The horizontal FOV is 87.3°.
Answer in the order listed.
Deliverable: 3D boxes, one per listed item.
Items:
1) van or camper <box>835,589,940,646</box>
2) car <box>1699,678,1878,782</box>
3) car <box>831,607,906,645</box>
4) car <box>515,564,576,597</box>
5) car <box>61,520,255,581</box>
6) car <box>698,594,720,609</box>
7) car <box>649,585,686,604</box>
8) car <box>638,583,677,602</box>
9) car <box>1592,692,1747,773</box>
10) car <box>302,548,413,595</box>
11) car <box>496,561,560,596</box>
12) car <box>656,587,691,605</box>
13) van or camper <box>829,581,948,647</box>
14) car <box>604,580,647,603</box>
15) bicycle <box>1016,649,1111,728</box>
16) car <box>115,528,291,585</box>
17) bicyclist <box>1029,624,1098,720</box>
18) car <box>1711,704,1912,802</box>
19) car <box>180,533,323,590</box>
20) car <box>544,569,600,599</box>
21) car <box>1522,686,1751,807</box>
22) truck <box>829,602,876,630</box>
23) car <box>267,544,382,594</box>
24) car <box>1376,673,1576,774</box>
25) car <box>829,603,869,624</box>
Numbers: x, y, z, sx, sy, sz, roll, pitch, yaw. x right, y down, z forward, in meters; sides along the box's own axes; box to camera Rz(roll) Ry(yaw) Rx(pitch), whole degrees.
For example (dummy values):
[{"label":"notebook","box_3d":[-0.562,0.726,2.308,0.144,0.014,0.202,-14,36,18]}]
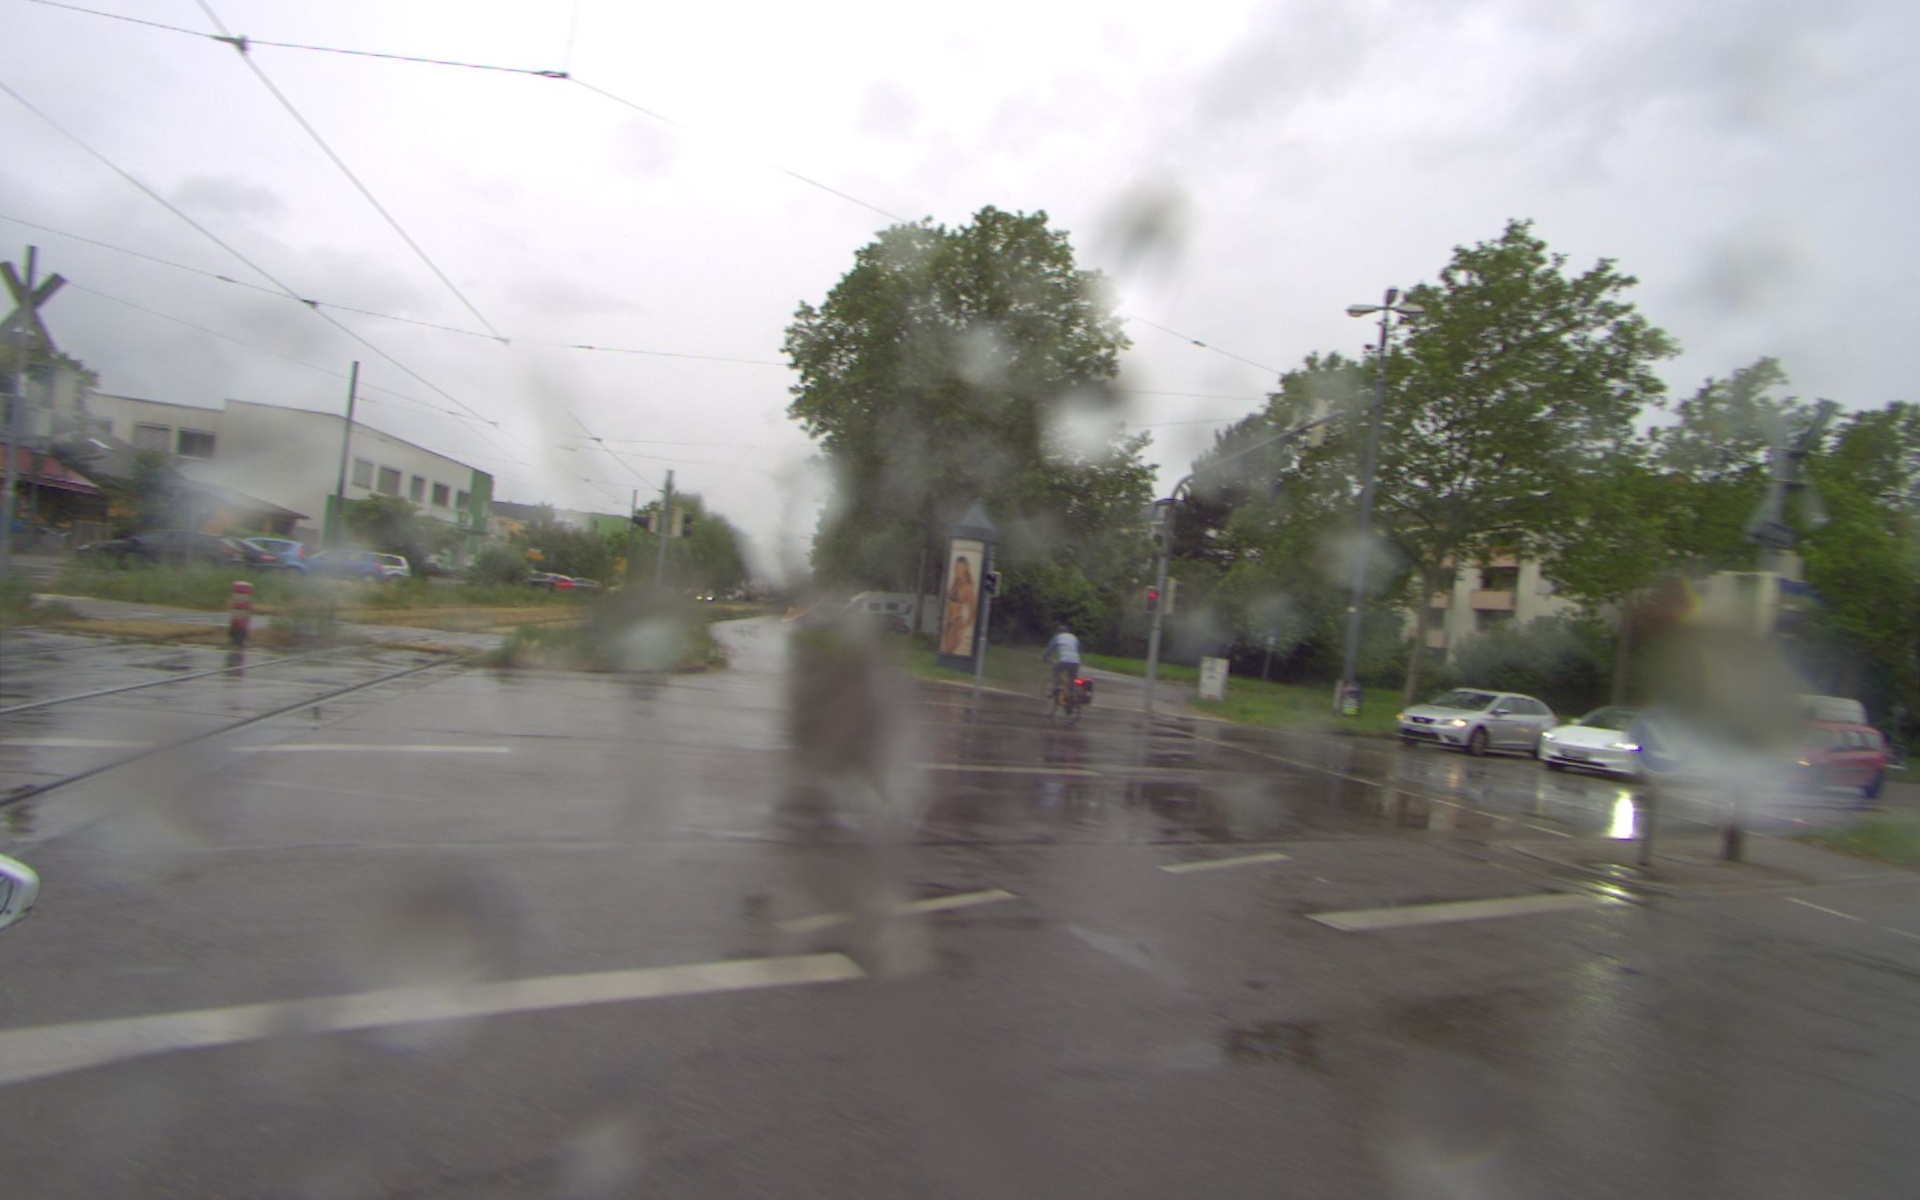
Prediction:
[{"label":"van or camper","box_3d":[-5.360,1.319,74.963,7.316,3.215,3.263,8,-1,-2]},{"label":"car","box_3d":[24.762,3.902,30.018,5.560,2.419,1.986,9,-2,-28]},{"label":"car","box_3d":[-5.615,1.584,62.046,4.379,1.737,2.000,8,-1,-4]},{"label":"car","box_3d":[-30.504,-1.421,74.028,3.950,1.885,1.989,8,-2,-24]},{"label":"car","box_3d":[-25.579,-1.531,32.298,4.431,1.436,1.849,5,-1,-24]},{"label":"car","box_3d":[-34.710,0.196,139.273,1.862,1.681,4.002,8,-2,-1]},{"label":"car","box_3d":[-38.006,-0.666,130.636,3.967,1.853,1.981,9,-2,-36]},{"label":"car","box_3d":[-36.560,-0.891,121.463,3.967,1.779,1.991,9,-2,-36]},{"label":"car","box_3d":[18.766,3.505,26.575,4.028,1.625,1.777,9,-2,-31]},{"label":"car","box_3d":[-27.841,-1.308,46.535,4.090,1.660,1.910,8,-1,-39]},{"label":"car","box_3d":[-30.475,-1.516,71.077,3.950,1.863,1.989,8,-2,-24]},{"label":"car","box_3d":[-38.691,-0.574,135.884,3.957,1.853,1.986,9,-2,-29]},{"label":"van or camper","box_3d":[-4.705,0.953,65.744,7.219,3.215,3.260,8,-1,-7]},{"label":"car","box_3d":[-34.148,-0.886,102.710,3.753,1.722,1.820,9,-2,-35]},{"label":"bicycle","box_3d":[1.752,1.499,17.362,0.684,1.129,1.875,8,-2,-24]},{"label":"car","box_3d":[-25.984,-1.474,34.753,4.451,1.436,1.849,6,-1,-24]},{"label":"bicyclist","box_3d":[1.780,1.228,17.367,0.684,1.523,0.840,7,-1,-24]},{"label":"car","box_3d":[19.382,3.492,22.868,4.566,1.625,1.779,9,-2,-27]},{"label":"car","box_3d":[-26.719,-1.411,38.117,3.944,1.601,1.851,7,-1,-20]},{"label":"car","box_3d":[-32.722,-1.345,84.899,3.960,1.909,1.984,9,-2,-31]},{"label":"car","box_3d":[13.545,2.947,20.088,4.562,1.849,1.919,9,-2,-31]},{"label":"truck","box_3d":[-11.460,1.721,107.354,4.654,2.365,2.430,8,-1,-5]},{"label":"car","box_3d":[-27.339,-1.326,43.298,3.965,1.600,1.912,8,-1,-36]},{"label":"car","box_3d":[11.787,2.827,22.903,4.363,1.711,1.919,9,-2,-31]},{"label":"car","box_3d":[-13.827,1.701,125.276,4.573,2.037,2.041,8,-1,-9]}]
